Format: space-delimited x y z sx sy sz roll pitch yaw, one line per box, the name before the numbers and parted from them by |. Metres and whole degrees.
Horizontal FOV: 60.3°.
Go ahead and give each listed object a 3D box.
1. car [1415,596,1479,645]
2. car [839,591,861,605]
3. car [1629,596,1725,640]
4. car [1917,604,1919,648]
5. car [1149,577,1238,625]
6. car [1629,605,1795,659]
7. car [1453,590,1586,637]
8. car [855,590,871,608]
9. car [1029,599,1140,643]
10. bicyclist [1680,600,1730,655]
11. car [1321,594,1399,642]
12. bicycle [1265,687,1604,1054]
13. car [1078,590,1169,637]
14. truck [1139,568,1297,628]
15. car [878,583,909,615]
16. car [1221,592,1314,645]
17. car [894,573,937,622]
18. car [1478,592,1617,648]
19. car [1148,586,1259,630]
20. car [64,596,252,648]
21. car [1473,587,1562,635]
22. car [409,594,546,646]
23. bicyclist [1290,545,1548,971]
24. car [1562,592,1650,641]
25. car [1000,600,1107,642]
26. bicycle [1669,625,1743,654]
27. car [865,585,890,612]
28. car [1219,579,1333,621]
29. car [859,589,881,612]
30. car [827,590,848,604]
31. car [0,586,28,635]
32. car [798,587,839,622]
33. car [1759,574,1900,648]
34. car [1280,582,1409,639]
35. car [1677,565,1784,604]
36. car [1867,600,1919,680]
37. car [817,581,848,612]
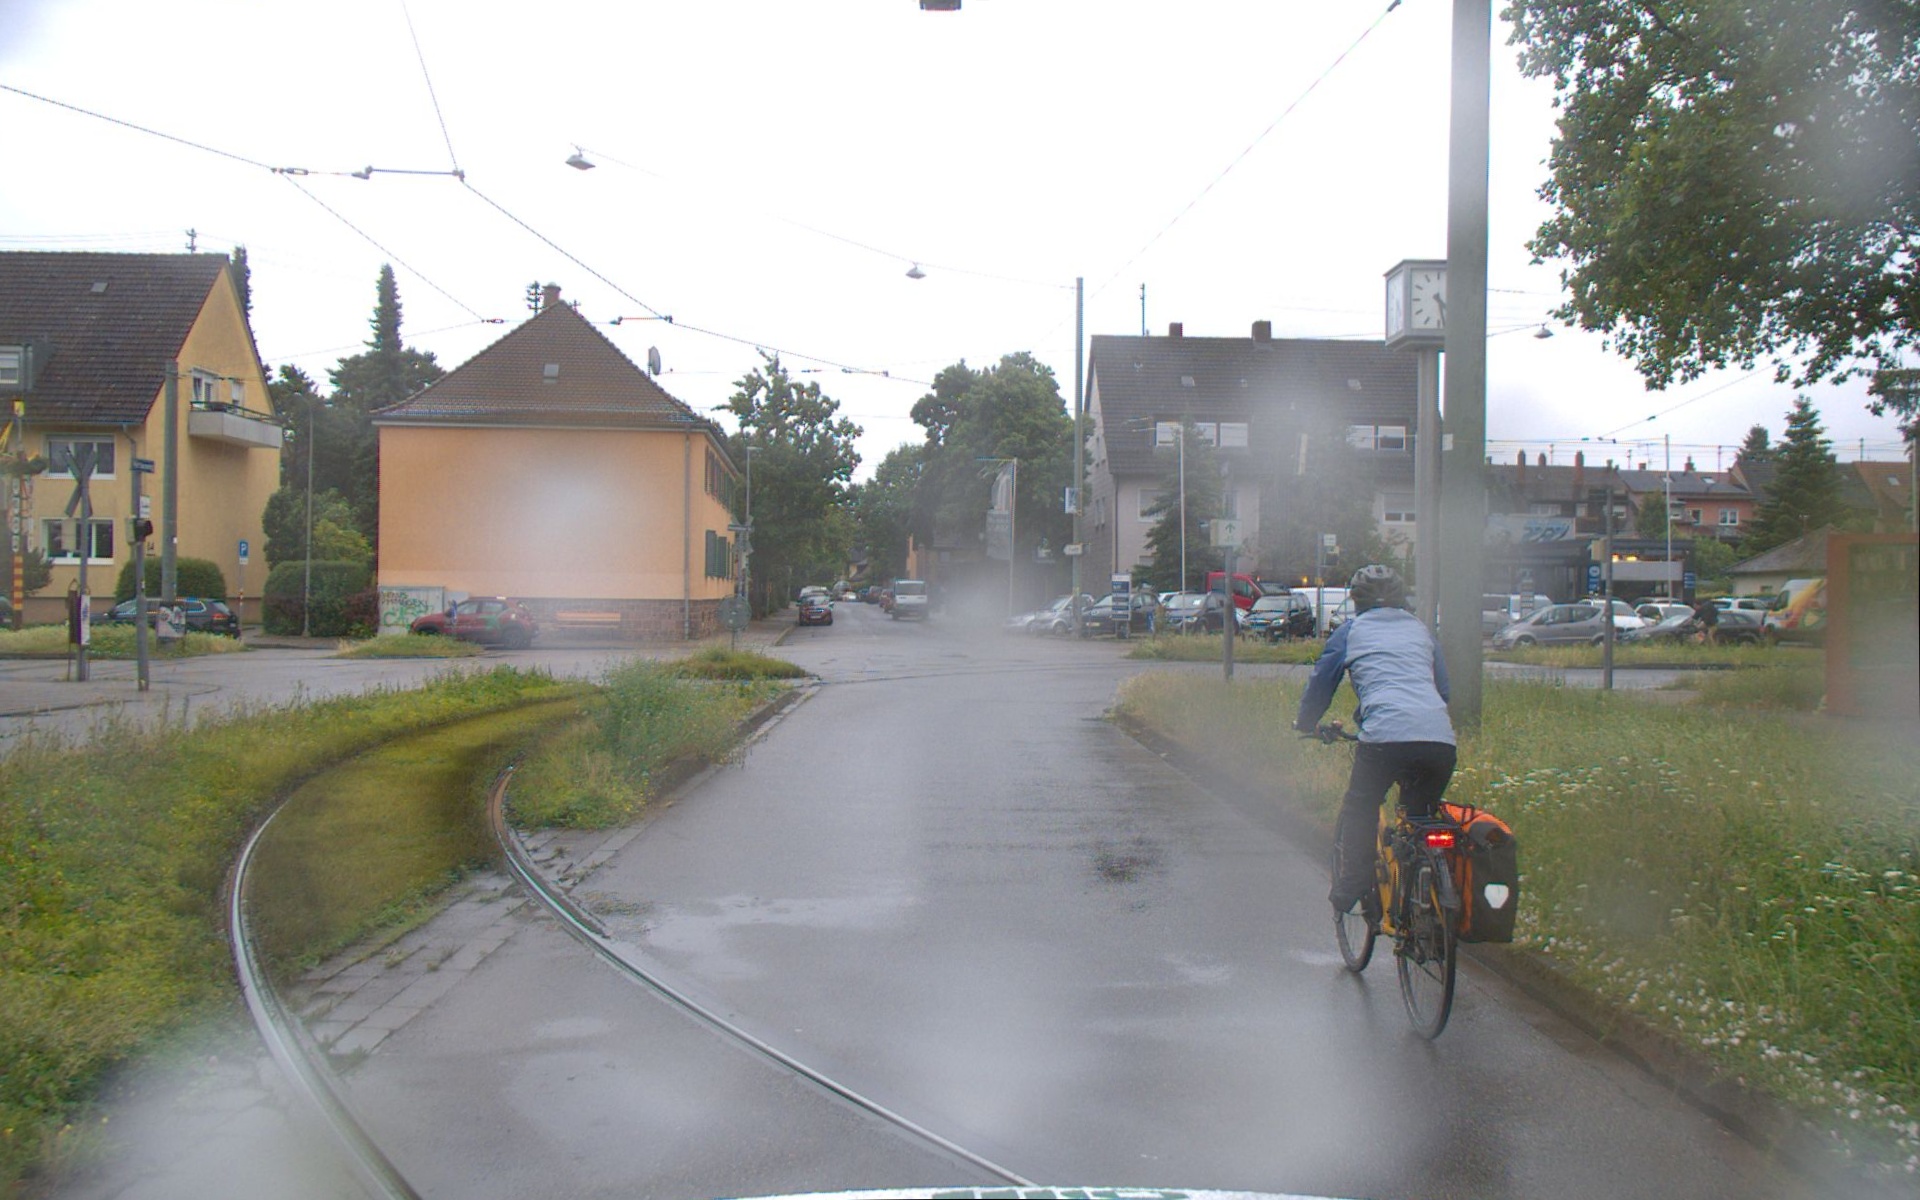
car | 16.697 0.693 56.878 1.789 1.530 4.061 2 0 13
car | -14.240 -0.284 214.076 1.800 1.726 4.010 2 0 -19
car | 25.005 0.603 57.817 1.682 1.420 3.842 2 0 1
car | 36.242 0.842 58.330 3.805 1.592 1.999 -3 1 -3
car | 8.127 0.031 57.287 1.768 1.606 3.865 0 0 30
car | 22.957 0.974 50.560 4.289 1.362 1.721 4 0 -4
car | 20.838 0.491 61.697 4.342 1.717 1.760 0 -1 0
car | -11.513 -0.147 195.903 1.793 2.049 3.996 2 0 -5
car | 4.685 0.765 62.156 3.806 1.606 1.795 0 0 -23
bicyclist | 22.037 0.805 48.923 1.018 1.626 0.949 0 0 -4
car | 13.791 0.628 56.891 1.792 1.530 4.055 2 0 25
bicycle | 1.739 0.941 6.405 0.737 1.091 1.927 -1 0 0
car | 5.820 0.443 58.504 1.768 1.606 3.865 0 0 30
truck | 10.196 -0.061 65.359 5.955 2.312 2.001 0 -1 17
car | -4.468 -0.080 111.252 1.954 2.049 3.998 2 0 -3
car | 10.598 0.611 56.893 1.956 1.747 3.992 0 0 30
car | -2.550 -0.149 93.577 2.111 2.617 4.129 2 0 -5
car | 17.857 0.600 50.384 3.560 1.530 1.722 2 0 -4
car | 9.220 0.297 62.441 3.882 1.626 2.001 0 -1 17
car | -22.956 0.619 47.477 4.402 1.420 1.965 1 0 -5
car | 19.314 0.363 57.451 1.765 1.606 3.871 0 0 -1
car | -14.114 0.578 48.541 3.535 1.362 1.721 2 0 -5
bicyclist | 1.727 0.564 6.343 0.735 1.511 0.846 -1 0 -1
car | 22.609 0.555 57.980 1.682 1.600 3.617 2 0 1
car | 3.678 0.795 65.101 3.806 1.606 1.795 0 0 -23
bicycle | 22.068 1.167 48.935 1.778 0.800 0.942 0 0 -4
car | -6.582 -0.094 131.699 1.793 2.049 3.996 2 0 -5
car | 13.086 0.006 68.649 4.342 1.717 2.000 0 -1 0
car | -8.162 0.039 150.272 1.793 2.049 3.996 2 0 -5
car | -16.214 -0.375 219.416 1.800 1.726 4.010 2 0 -19
car | -28.844 0.223 46.729 3.910 1.355 1.758 2 0 -6
car | -6.957 0.212 81.313 1.954 1.646 3.996 0 0 -5
car | 31.077 0.378 59.345 2.102 2.448 5.146 2 0 -3
car | 14.280 0.396 61.640 4.342 2.049 2.000 0 -1 0
car | 33.245 -0.653 71.365 4.375 1.608 1.780 1 -1 -25
car | 19.352 0.756 30.687 1.781 1.502 4.131 0 0 -32
car | -8.872 -0.258 115.352 1.954 2.049 3.998 2 0 -3
